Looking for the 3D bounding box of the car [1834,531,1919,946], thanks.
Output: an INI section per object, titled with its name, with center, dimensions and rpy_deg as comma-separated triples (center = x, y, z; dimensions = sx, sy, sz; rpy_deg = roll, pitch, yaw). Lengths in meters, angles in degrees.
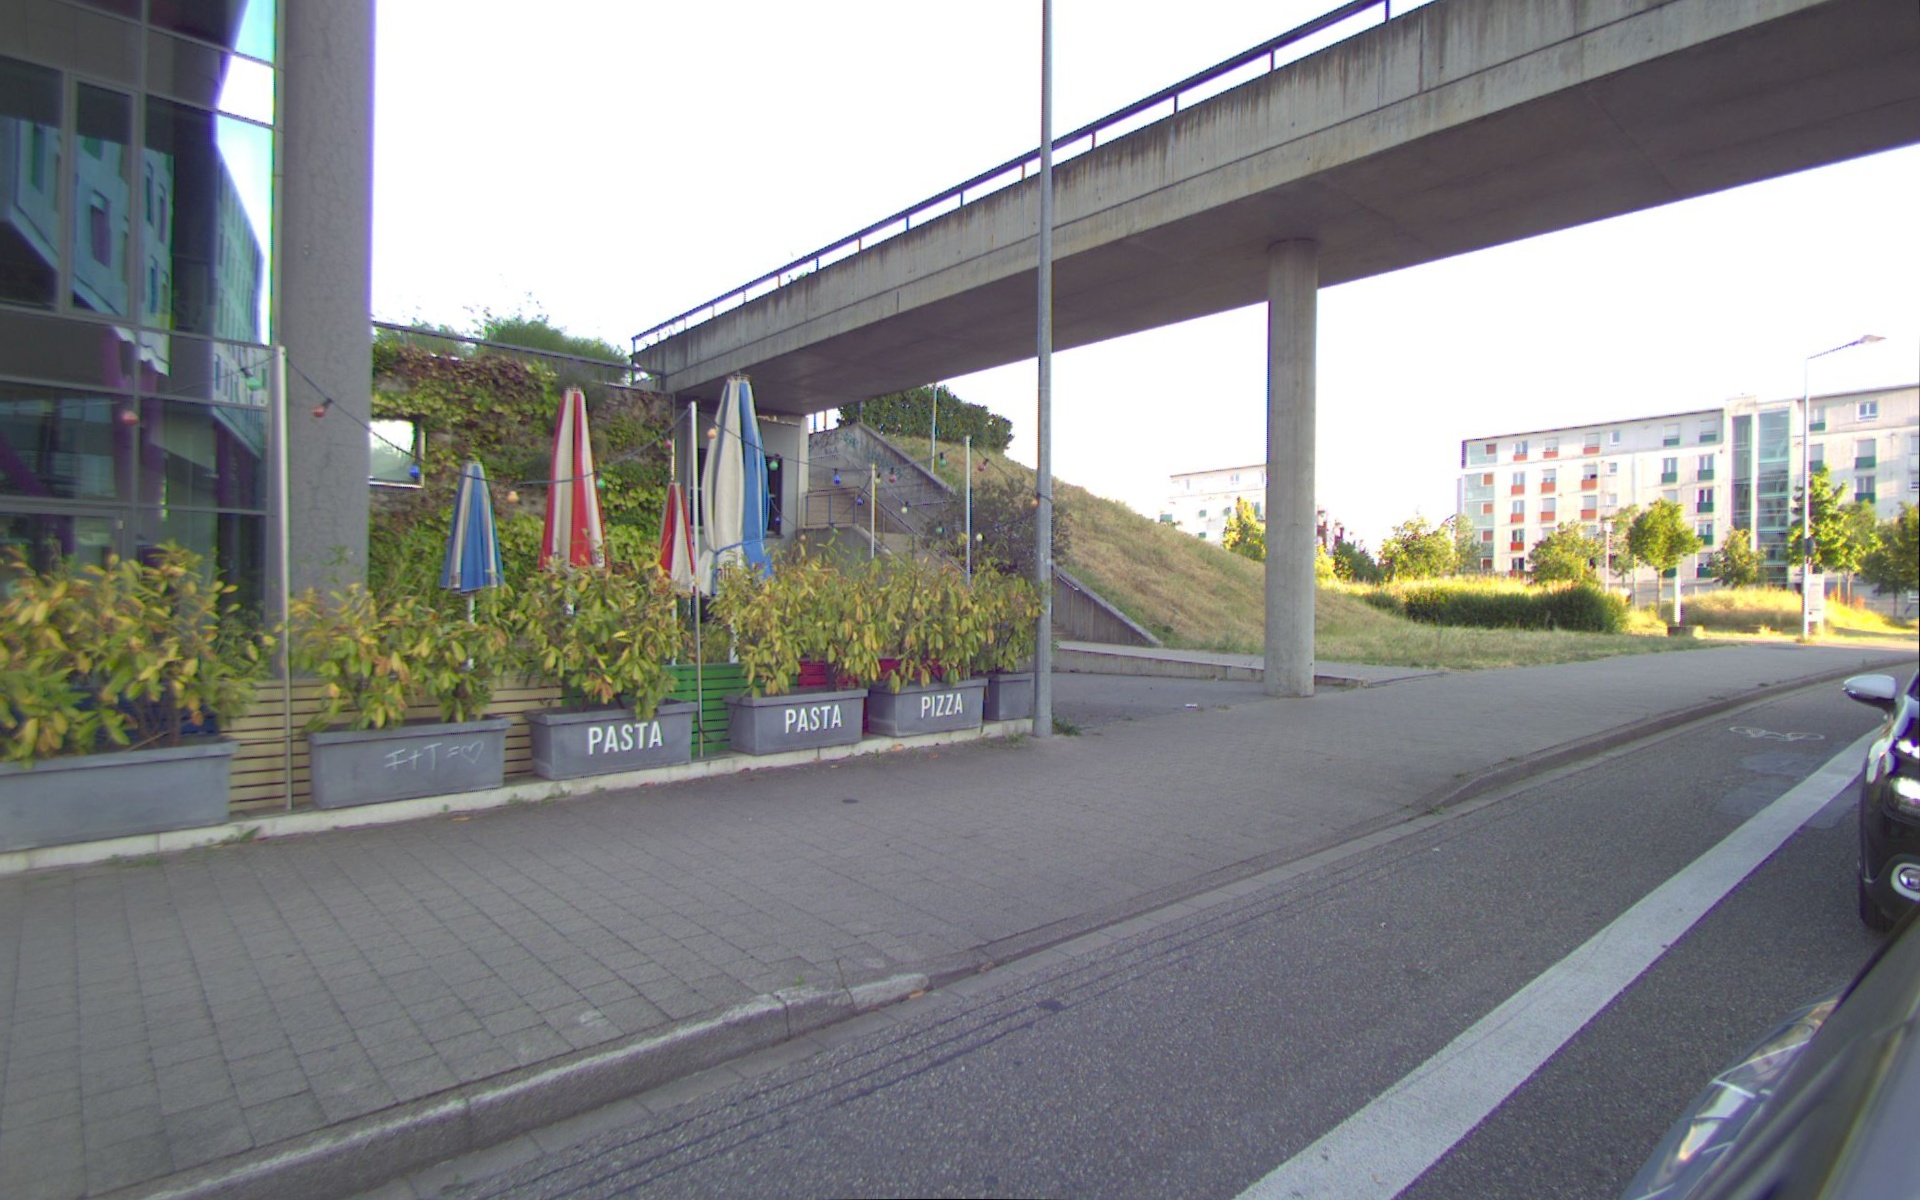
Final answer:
[car]
center = 5.519, 0.536, 4.741
dimensions = 4.003, 1.571, 1.757
rpy_deg = 0, 0, -43
